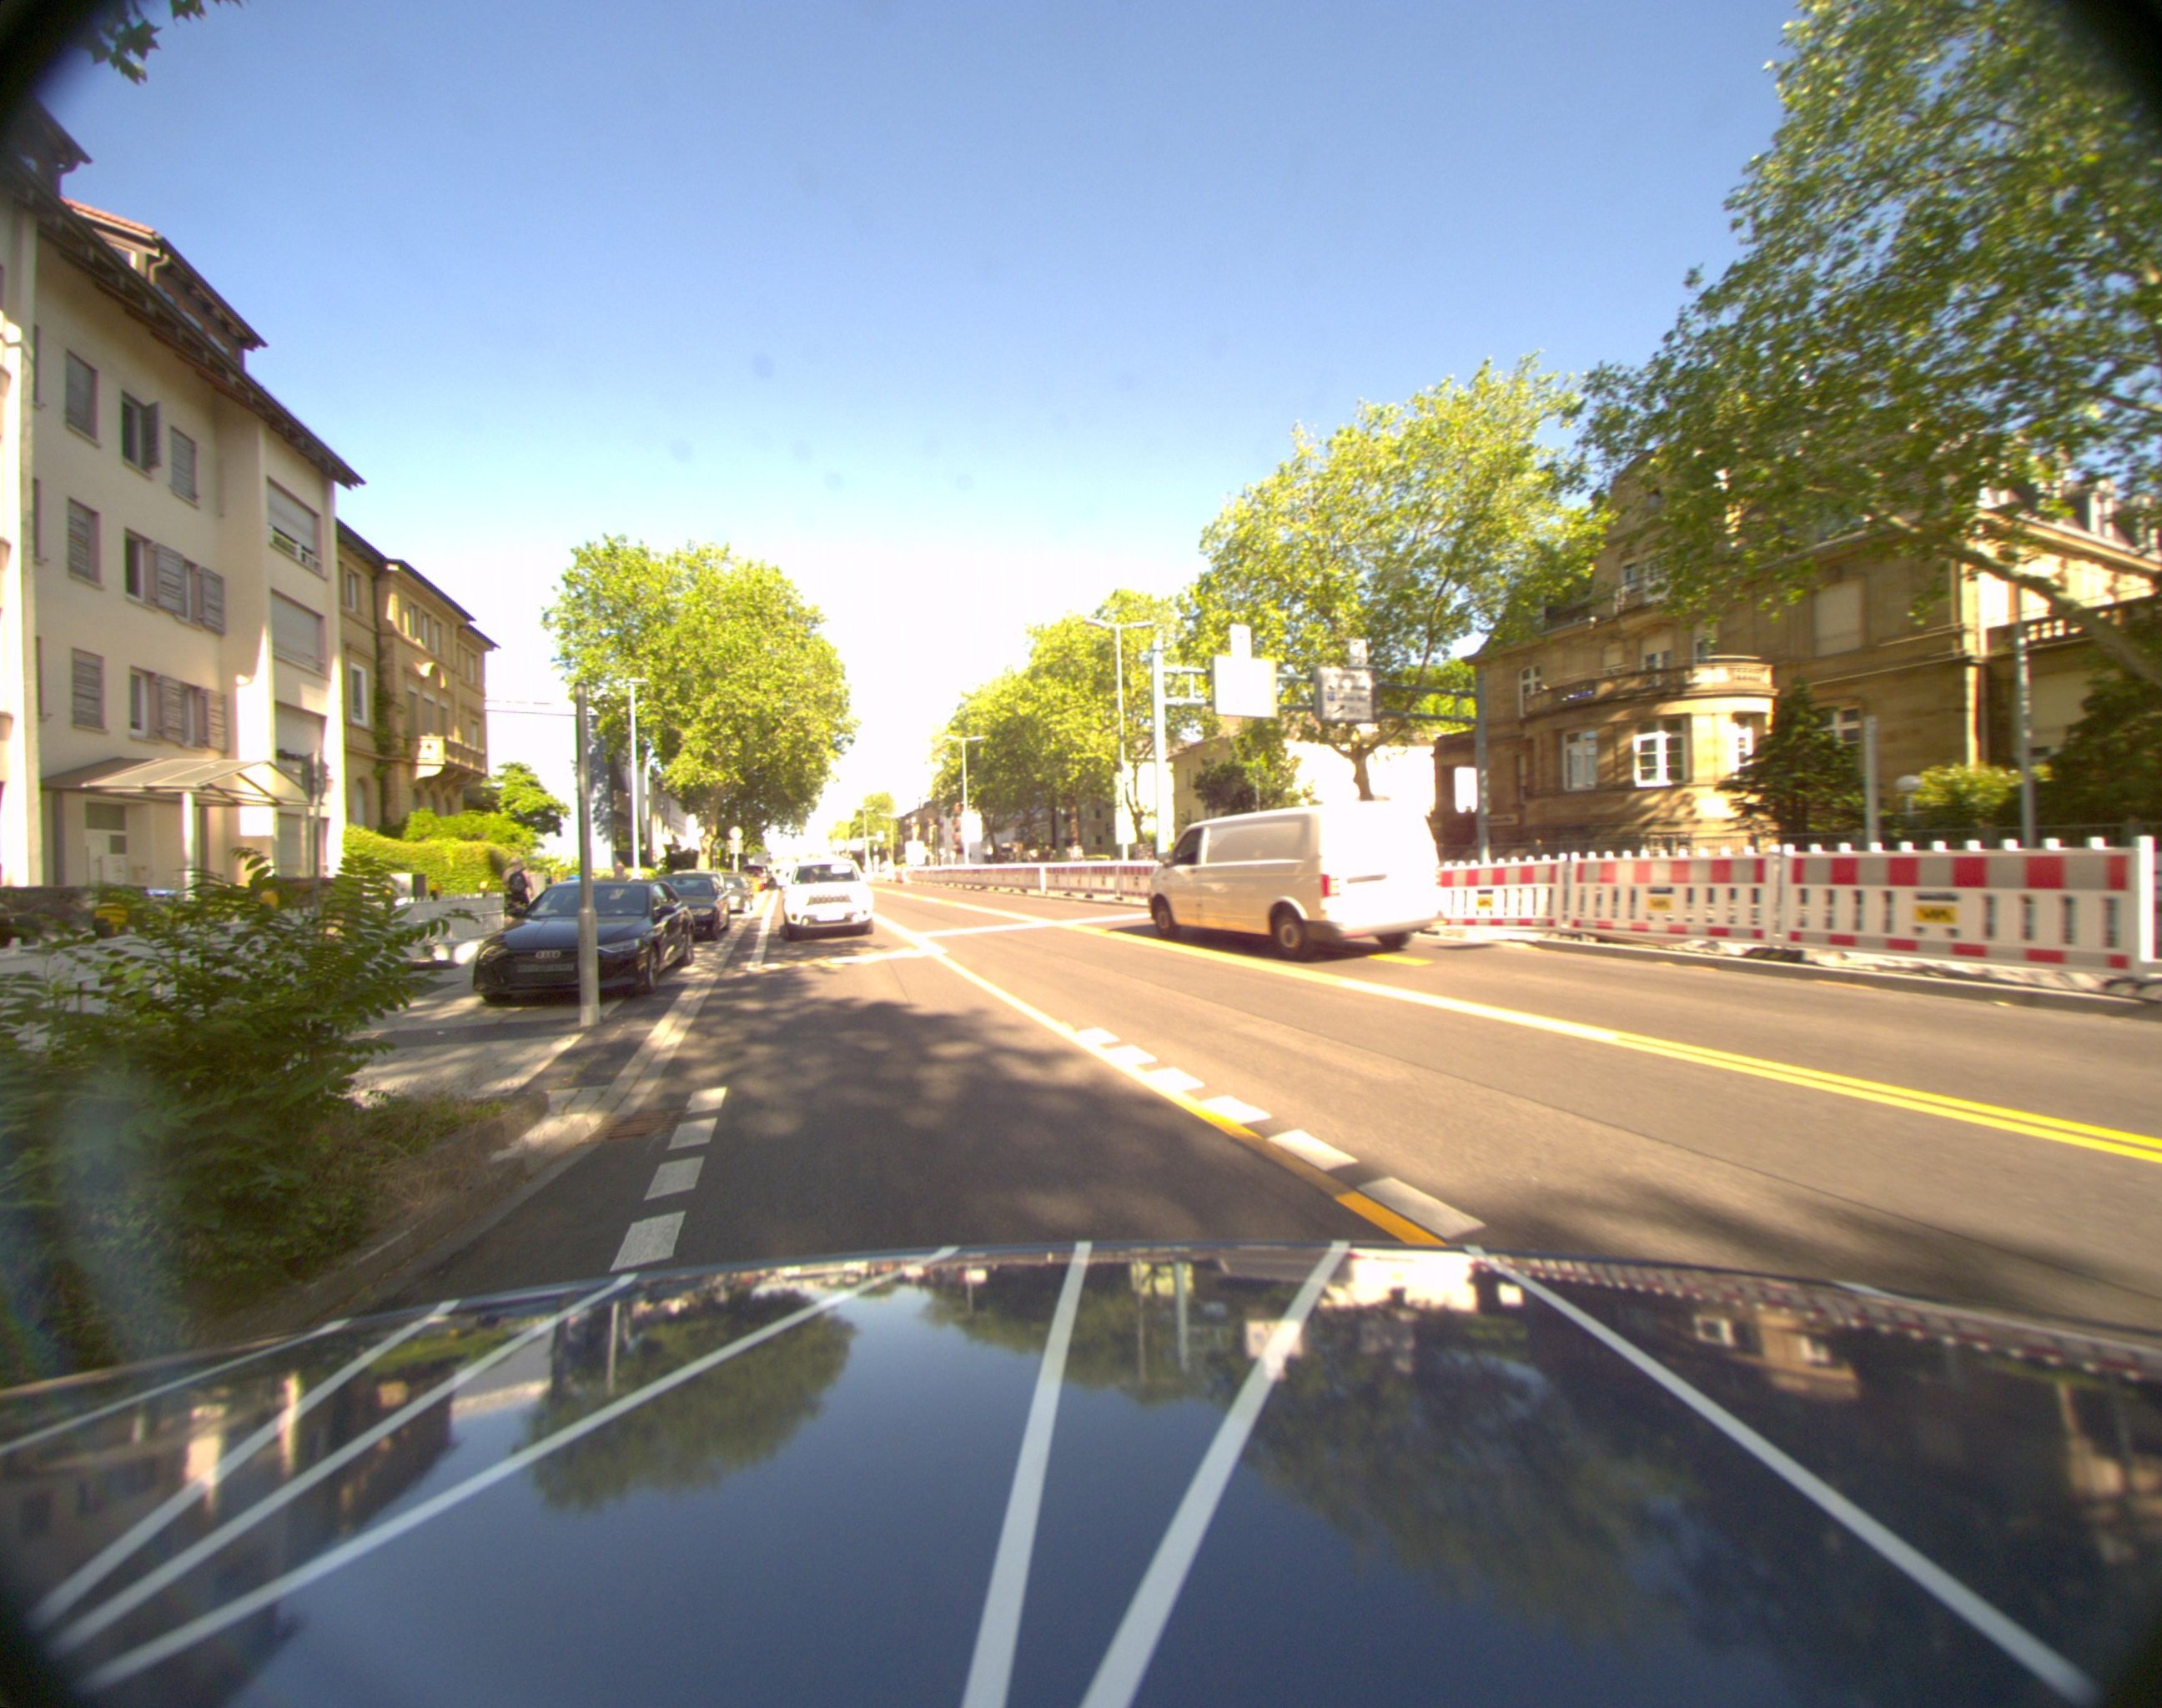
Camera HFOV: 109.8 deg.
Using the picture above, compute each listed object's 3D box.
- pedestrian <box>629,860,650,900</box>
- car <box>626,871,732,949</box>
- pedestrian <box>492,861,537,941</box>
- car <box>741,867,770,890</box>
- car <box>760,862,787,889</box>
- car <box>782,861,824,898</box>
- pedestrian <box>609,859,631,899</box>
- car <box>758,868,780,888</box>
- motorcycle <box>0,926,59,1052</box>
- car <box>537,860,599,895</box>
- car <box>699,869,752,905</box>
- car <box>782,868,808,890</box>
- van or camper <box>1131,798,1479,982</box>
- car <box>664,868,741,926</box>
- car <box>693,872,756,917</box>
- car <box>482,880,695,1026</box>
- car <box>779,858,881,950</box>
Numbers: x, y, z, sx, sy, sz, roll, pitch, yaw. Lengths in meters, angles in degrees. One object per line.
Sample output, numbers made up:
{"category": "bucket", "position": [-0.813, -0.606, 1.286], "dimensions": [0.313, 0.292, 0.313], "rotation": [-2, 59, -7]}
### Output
{"category": "pedestrian", "position": [-20.435, 1.188, 35.168], "dimensions": [0.700, 1.785, 0.713], "rotation": [-1, 0, -21]}
{"category": "car", "position": [-8.843, 1.136, 17.002], "dimensions": [1.627, 1.477, 4.050], "rotation": [0, -1, -21]}
{"category": "pedestrian", "position": [-13.437, 1.088, 18.049], "dimensions": [0.667, 1.838, 0.693], "rotation": [-1, 0, -21]}
{"category": "car", "position": [-22.284, 1.650, 52.120], "dimensions": [1.677, 1.508, 3.991], "rotation": [-1, 0, -21]}
{"category": "car", "position": [-23.446, 1.589, 58.045], "dimensions": [1.756, 1.954, 4.499], "rotation": [-1, 0, -21]}
{"category": "car", "position": [-14.654, 1.274, 39.918], "dimensions": [1.871, 1.716, 4.499], "rotation": [-3, 1, -21]}
{"category": "pedestrian", "position": [-21.163, 1.153, 34.895], "dimensions": [0.700, 1.785, 0.800], "rotation": [-1, 0, -21]}
{"category": "car", "position": [-27.079, 2.036, 66.092], "dimensions": [1.634, 1.625, 4.213], "rotation": [-1, 0, -21]}
{"category": "motorcycle", "position": [-10.697, 1.335, 7.035], "dimensions": [0.599, 1.179, 1.553], "rotation": [-2, 0, -14]}
{"category": "car", "position": [-28.584, 1.280, 42.301], "dimensions": [3.988, 1.811, 1.804], "rotation": [-1, 0, 40]}
{"category": "car", "position": [-15.324, 1.390, 32.925], "dimensions": [1.724, 1.404, 4.468], "rotation": [2, -1, -21]}
{"category": "car", "position": [-19.497, 1.646, 51.718], "dimensions": [1.560, 1.372, 3.640], "rotation": [-1, 0, -21]}
{"category": "van or camper", "position": [2.851, 0.394, 11.275], "dimensions": [2.002, 2.002, 5.319], "rotation": [-3, 1, -22]}
{"category": "car", "position": [-10.799, 1.170, 21.895], "dimensions": [1.627, 1.477, 3.727], "rotation": [0, -1, -21]}
{"category": "car", "position": [-12.498, 1.350, 26.799], "dimensions": [1.724, 1.404, 4.041], "rotation": [0, -1, -21]}
{"category": "car", "position": [-6.425, 1.137, 10.384], "dimensions": [1.627, 1.477, 4.090], "rotation": [0, -1, -21]}
{"category": "car", "position": [-5.817, 1.011, 17.331], "dimensions": [1.871, 1.716, 4.499], "rotation": [-3, 1, -21]}
